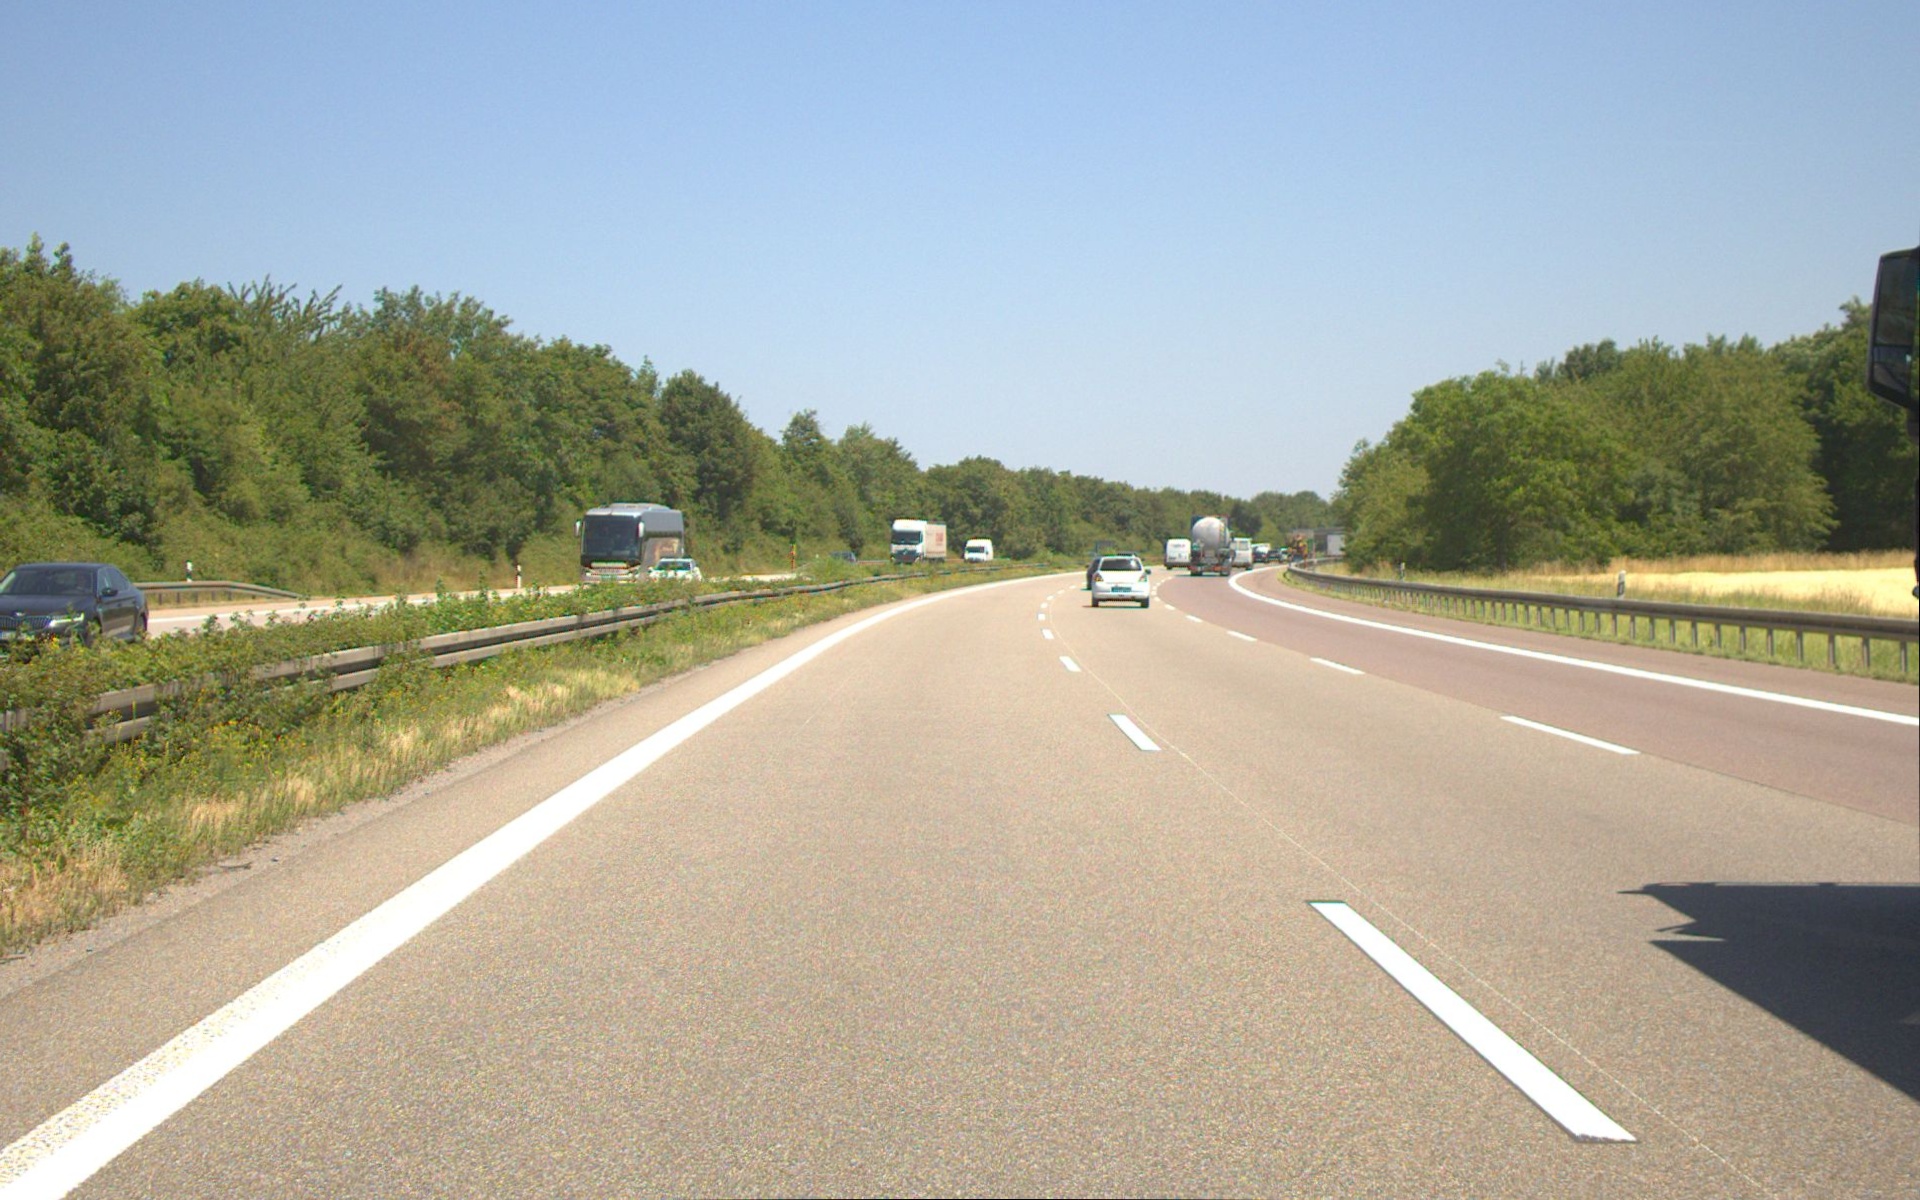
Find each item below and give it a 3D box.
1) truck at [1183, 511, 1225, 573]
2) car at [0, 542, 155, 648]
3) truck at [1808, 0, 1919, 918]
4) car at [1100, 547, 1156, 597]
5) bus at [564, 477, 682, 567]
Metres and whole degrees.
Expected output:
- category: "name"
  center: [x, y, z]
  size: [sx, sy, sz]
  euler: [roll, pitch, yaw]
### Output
- category: "truck"
  center: [16.351, -3.870, 230.872]
  size: [2.739, 4.038, 10.453]
  euler: [0, 1, 4]
- category: "car"
  center: [-13.365, -0.108, 51.084]
  size: [1.782, 1.512, 4.502]
  euler: [0, 1, -1]
- category: "truck"
  center: [5.422, -0.789, 13.519]
  size: [2.908, 4.241, 4.975]
  euler: [1, 1, 0]
- category: "car"
  center: [4.999, -0.838, 102.567]
  size: [1.627, 1.474, 4.000]
  euler: [0, 1, 2]
- category: "bus"
  center: [-14.415, -3.321, 148.320]
  size: [2.742, 3.695, 12.998]
  euler: [1, 1, 5]
